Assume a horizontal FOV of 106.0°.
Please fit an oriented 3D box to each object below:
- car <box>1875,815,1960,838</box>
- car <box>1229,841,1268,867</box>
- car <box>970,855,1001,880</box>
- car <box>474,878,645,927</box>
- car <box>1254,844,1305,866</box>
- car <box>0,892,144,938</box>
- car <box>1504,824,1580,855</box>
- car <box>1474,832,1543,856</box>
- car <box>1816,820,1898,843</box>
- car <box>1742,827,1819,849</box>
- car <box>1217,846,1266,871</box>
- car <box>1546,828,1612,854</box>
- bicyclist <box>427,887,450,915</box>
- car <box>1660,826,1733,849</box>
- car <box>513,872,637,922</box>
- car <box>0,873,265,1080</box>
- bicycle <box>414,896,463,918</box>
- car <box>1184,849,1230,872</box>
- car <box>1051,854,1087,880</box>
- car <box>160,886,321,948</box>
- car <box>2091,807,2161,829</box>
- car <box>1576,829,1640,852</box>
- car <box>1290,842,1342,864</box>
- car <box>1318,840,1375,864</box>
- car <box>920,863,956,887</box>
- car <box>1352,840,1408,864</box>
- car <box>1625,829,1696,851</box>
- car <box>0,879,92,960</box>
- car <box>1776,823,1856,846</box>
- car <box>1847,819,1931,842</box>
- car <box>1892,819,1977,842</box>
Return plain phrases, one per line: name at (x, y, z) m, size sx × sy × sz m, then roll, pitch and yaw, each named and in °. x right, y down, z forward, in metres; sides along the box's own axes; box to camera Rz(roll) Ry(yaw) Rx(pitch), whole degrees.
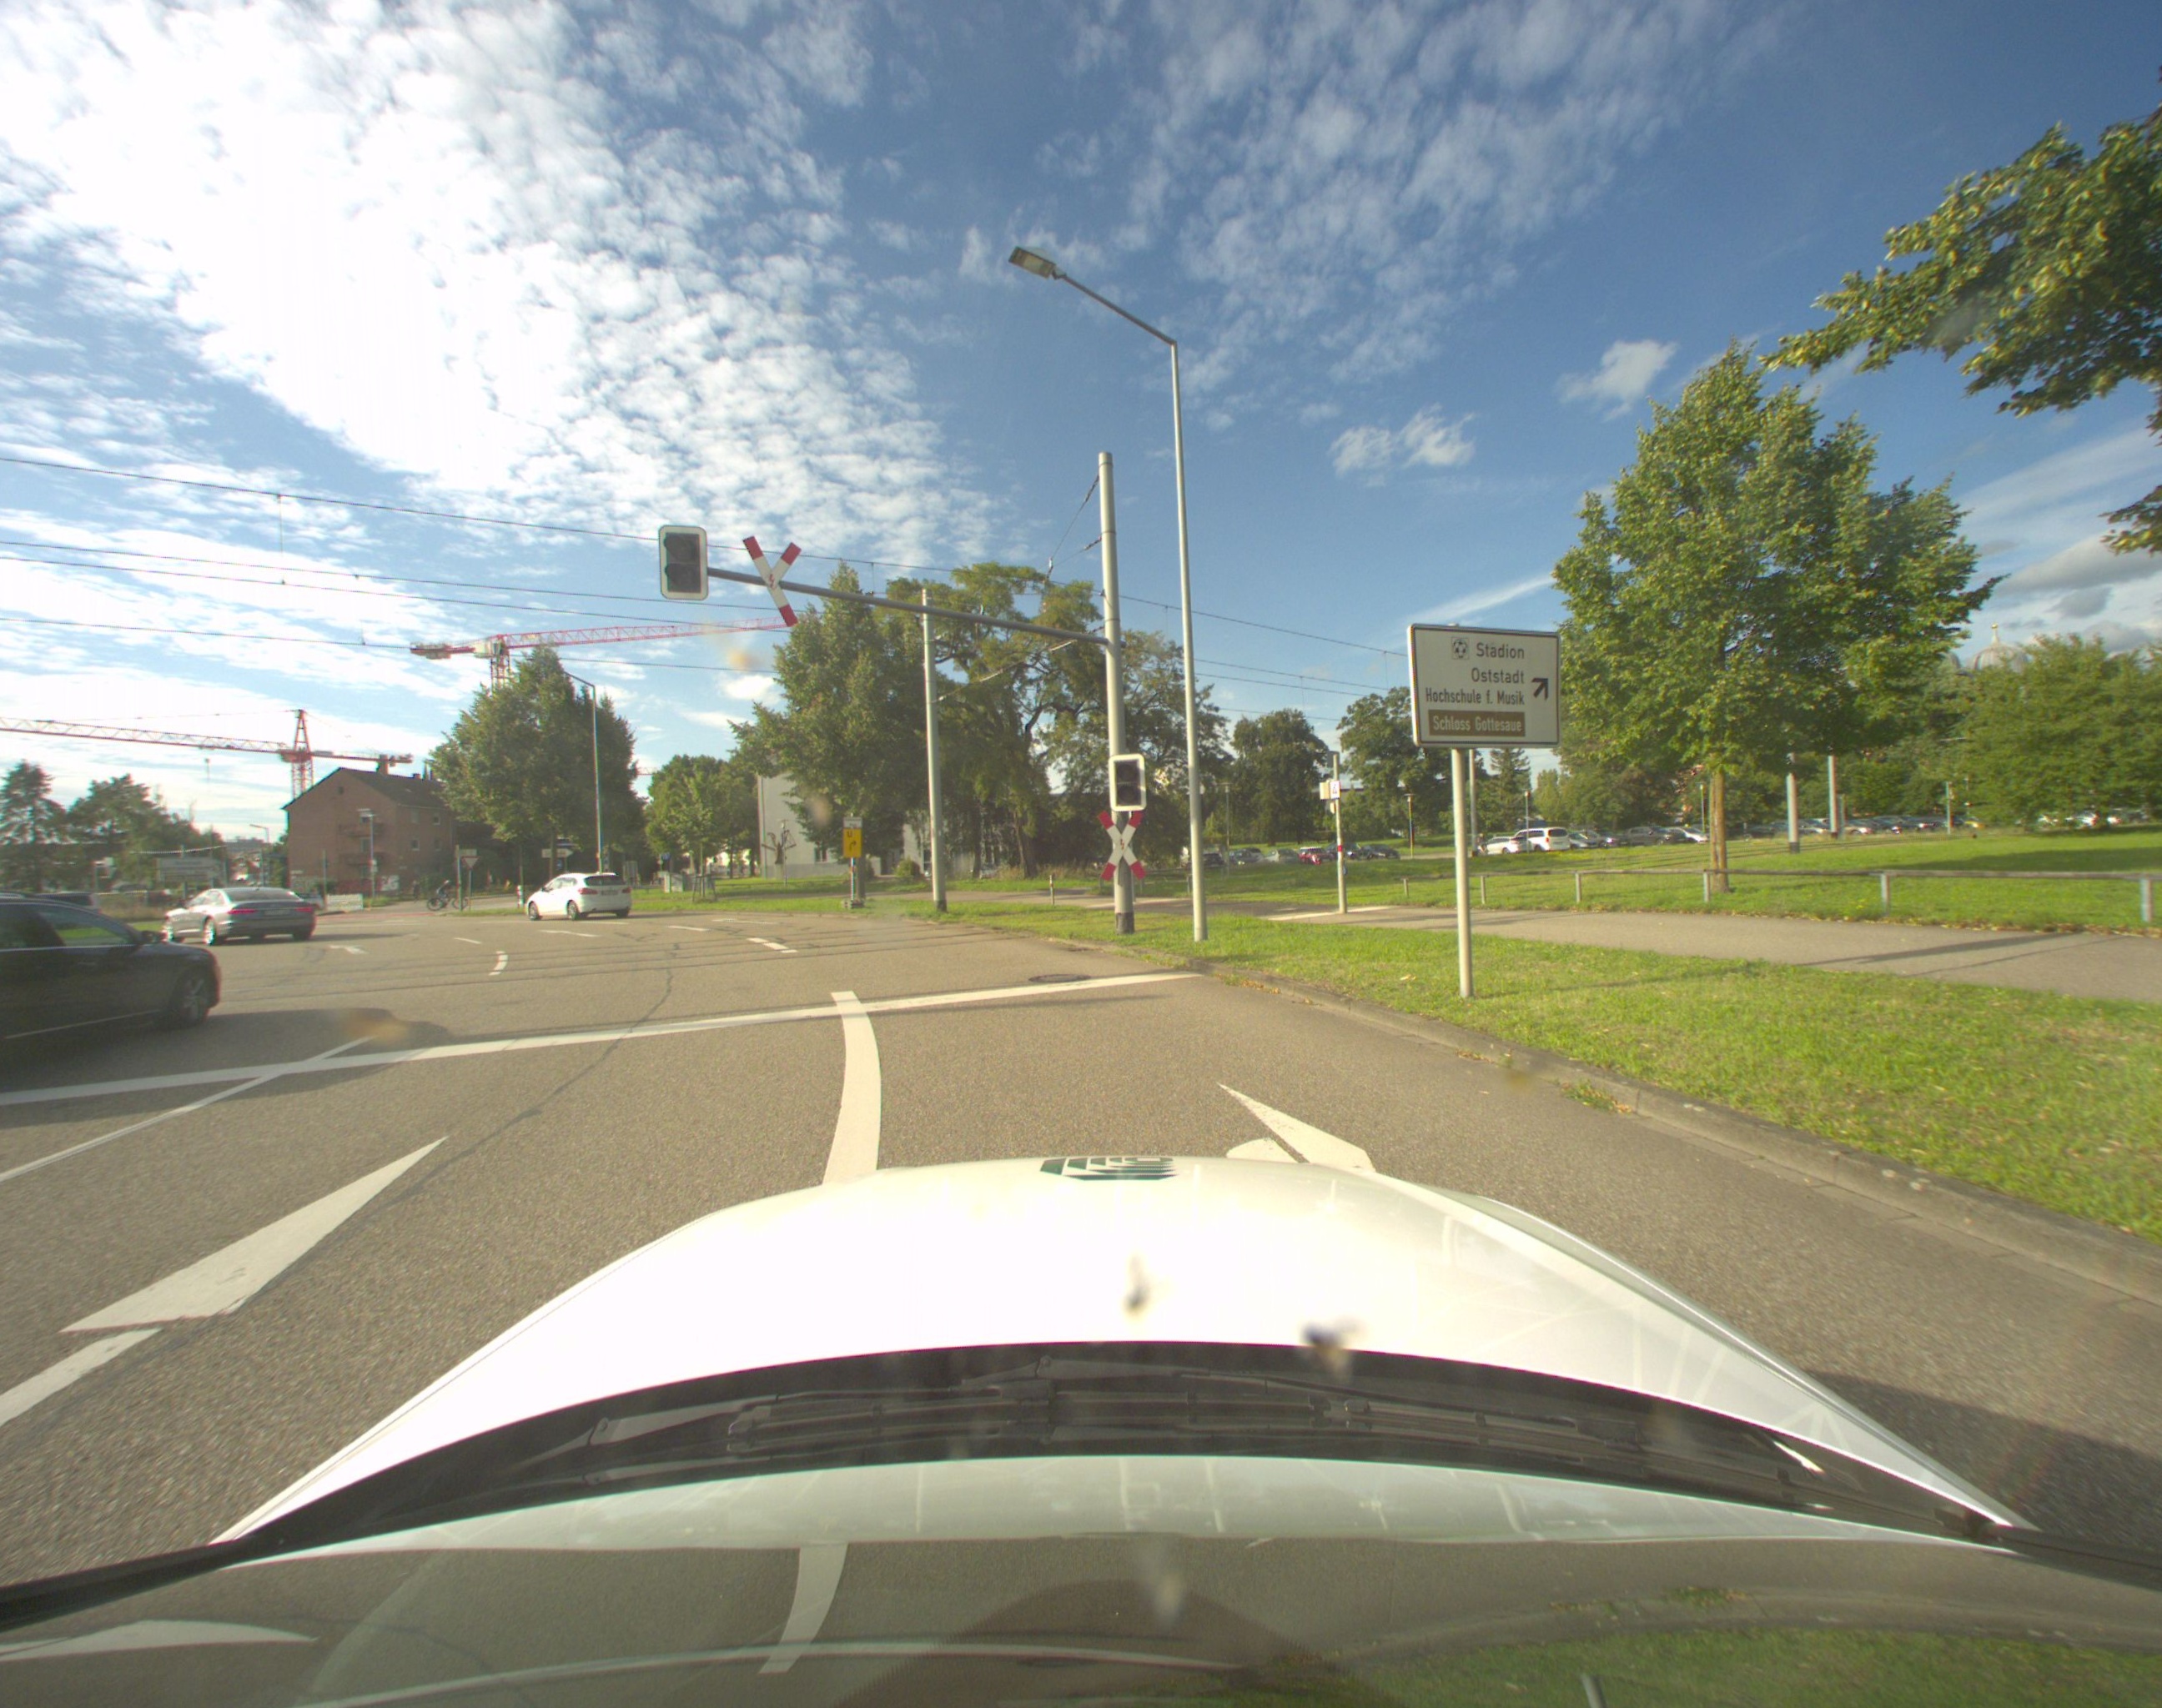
car at (64.656, -2.108, 63.035) m, size 1.849 × 1.541 × 4.464 m, roll -3°, pitch 0°, yaw -3°
car at (13.868, 0.018, 67.658) m, size 1.868 × 2.014 × 4.803 m, roll -1°, pitch -1°, yaw -4°
car at (-6.181, 0.861, 52.765) m, size 1.853 × 1.440 × 4.723 m, roll -3°, pitch 0°, yaw -6°
car at (-18.078, 1.640, 28.481) m, size 4.658 × 1.431 × 1.890 m, roll -1°, pitch -1°, yaw -18°
car at (13.558, 0.090, 55.847) m, size 1.853 × 1.358 × 4.823 m, roll -3°, pitch 0°, yaw -6°
car at (-50.230, 2.978, 40.476) m, size 1.890 × 1.903 × 4.659 m, roll -2°, pitch -1°, yaw 0°
car at (32.913, -1.019, 58.362) m, size 2.304 × 2.007 × 5.107 m, roll -3°, pitch 0°, yaw -3°
car at (30.208, -0.664, 57.704) m, size 1.858 × 1.515 × 4.448 m, roll -3°, pitch 0°, yaw -14°
car at (59.300, -1.693, 62.337) m, size 1.849 × 1.453 × 4.464 m, roll -3°, pitch 0°, yaw -3°
car at (52.852, -1.180, 61.644) m, size 1.793 × 1.515 × 4.464 m, roll -3°, pitch 0°, yaw -3°
car at (10.773, 0.324, 55.074) m, size 1.853 × 1.515 × 4.737 m, roll -3°, pitch 0°, yaw -6°
car at (35.947, -0.923, 58.951) m, size 2.088 × 1.674 × 4.471 m, roll -3°, pitch 0°, yaw 2°
bicyclist at (-37.523, 2.742, 47.557) m, size 0.965 × 1.575 × 0.763 m, roll -3°, pitch 0°, yaw -38°
car at (45.228, -1.162, 59.954) m, size 1.851 × 1.504 × 4.464 m, roll -3°, pitch 0°, yaw -3°
car at (-17.562, 1.467, 28.232) m, size 4.397 × 1.572 × 1.868 m, roll -2°, pitch -1°, yaw 32°
car at (-9.565, 0.995, 6.760) m, size 2.000 × 1.566 × 4.813 m, roll -1°, pitch 0°, yaw -19°
bicycle at (-37.500, 3.082, 47.558) m, size 2.161 × 1.137 × 0.763 m, roll -3°, pitch 0°, yaw -38°
car at (8.399, 0.432, 54.648) m, size 1.853 × 1.359 × 4.723 m, roll -3°, pitch 0°, yaw -6°
car at (-0.828, 0.846, 53.177) m, size 1.853 × 1.515 × 4.723 m, roll -3°, pitch 0°, yaw -6°
car at (-22.534, 1.632, 21.807) m, size 4.654 × 1.445 × 1.868 m, roll -2°, pitch -1°, yaw 29°
car at (85.324, -2.926, 65.857) m, size 1.845 × 1.541 × 4.474 m, roll -3°, pitch 0°, yaw 4°
car at (38.153, -0.941, 59.088) m, size 2.022 × 1.515 × 4.114 m, roll -3°, pitch 0°, yaw 2°
car at (16.098, -0.026, 56.059) m, size 1.853 × 1.362 × 4.459 m, roll -3°, pitch 0°, yaw -6°
car at (18.231, -0.108, 56.163) m, size 1.853 × 1.515 × 4.934 m, roll -3°, pitch 0°, yaw -6°
car at (-9.086, 1.314, 52.067) m, size 1.853 × 1.381 × 4.505 m, roll -3°, pitch 0°, yaw -6°
car at (20.778, -0.112, 56.745) m, size 1.853 × 1.515 × 4.459 m, roll -3°, pitch 0°, yaw -6°
car at (42.503, -0.999, 59.821) m, size 1.851 × 1.398 × 4.464 m, roll -3°, pitch 0°, yaw -3°
car at (-22.986, 1.379, 17.642) m, size 4.014 × 1.572 × 1.785 m, roll -2°, pitch -1°, yaw 37°
car at (55.467, -1.425, 61.540) m, size 1.849 × 1.541 × 4.464 m, roll -3°, pitch 0°, yaw -3°
car at (61.927, -1.773, 62.526) m, size 1.849 × 1.541 × 4.464 m, roll -3°, pitch 0°, yaw -3°
car at (66.887, -1.817, 63.923) m, size 1.849 × 1.541 × 4.464 m, roll -3°, pitch 0°, yaw -3°
